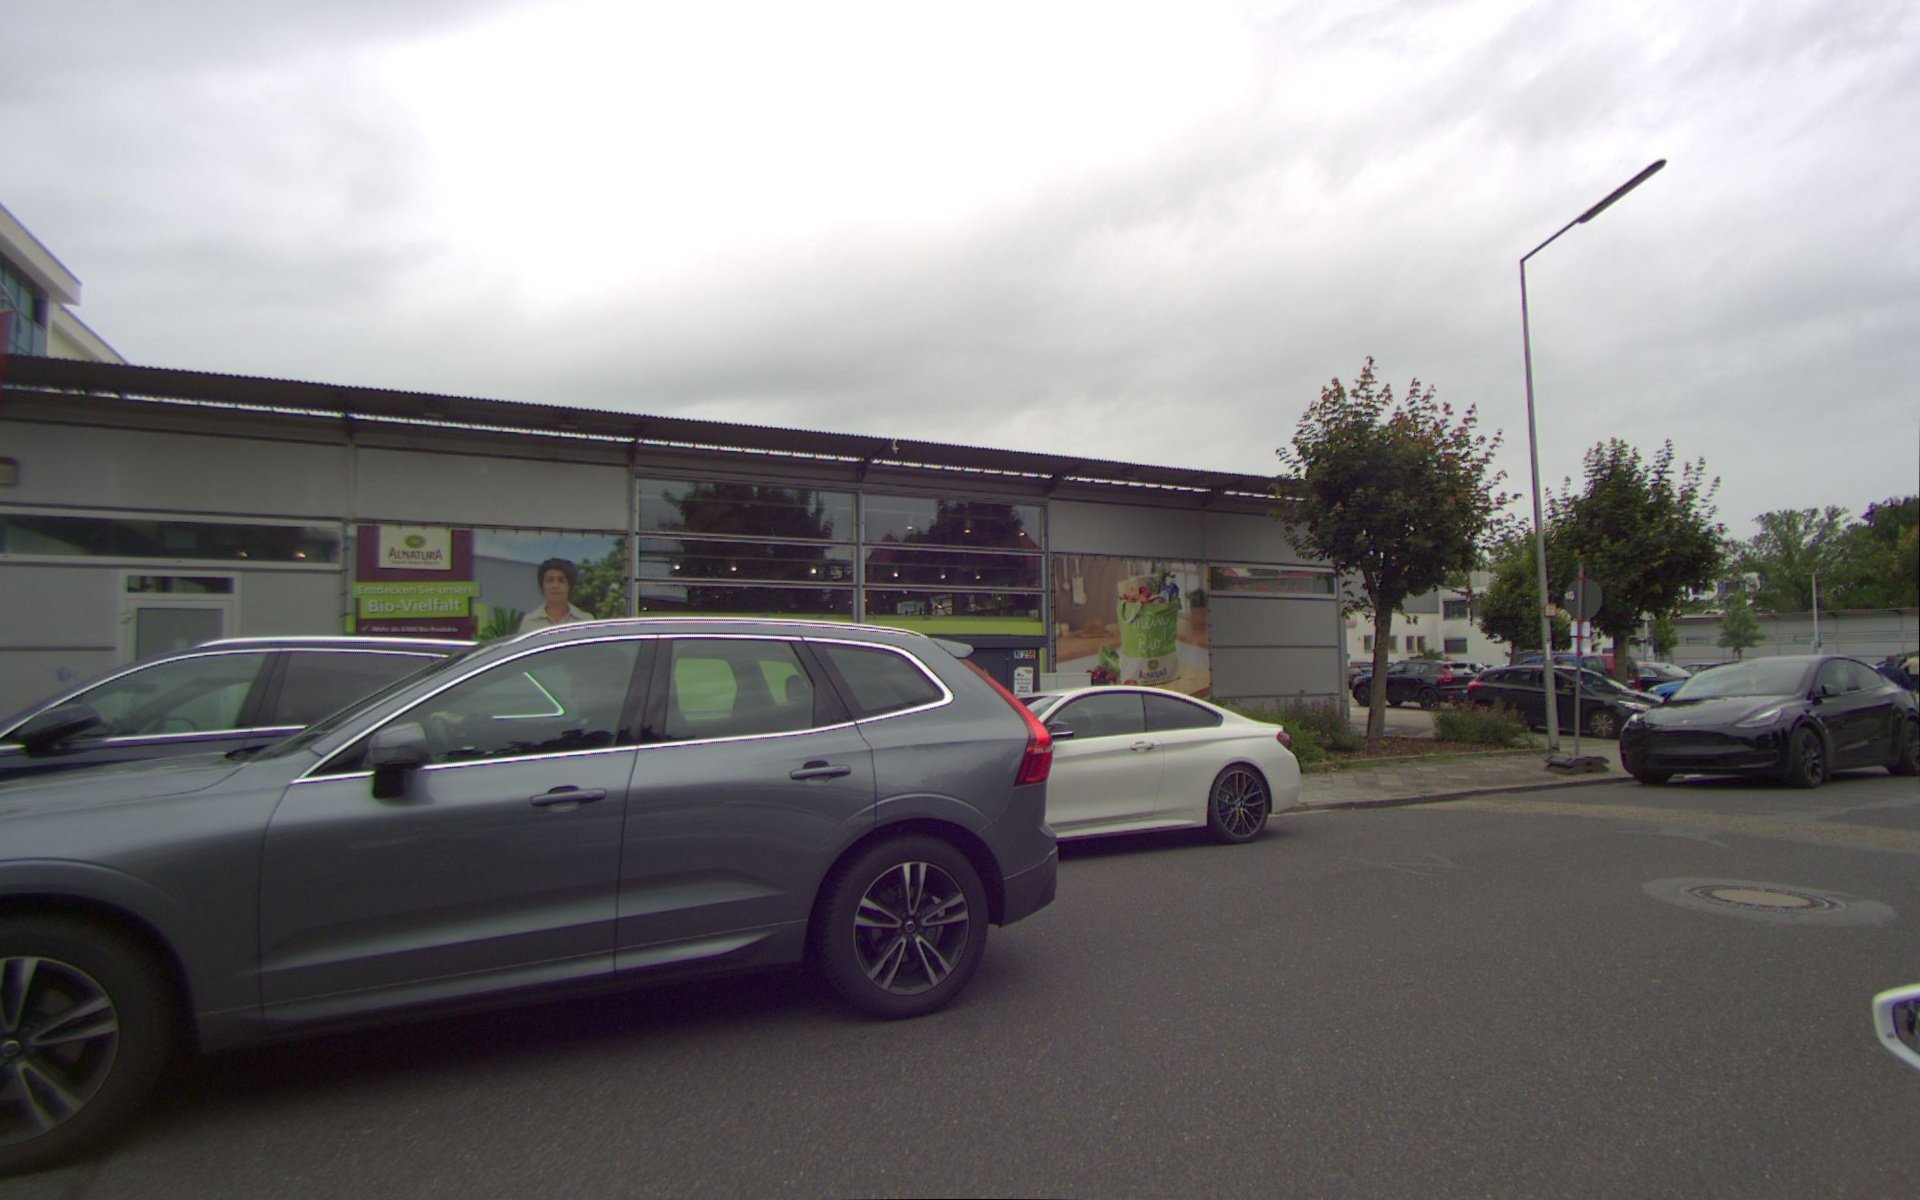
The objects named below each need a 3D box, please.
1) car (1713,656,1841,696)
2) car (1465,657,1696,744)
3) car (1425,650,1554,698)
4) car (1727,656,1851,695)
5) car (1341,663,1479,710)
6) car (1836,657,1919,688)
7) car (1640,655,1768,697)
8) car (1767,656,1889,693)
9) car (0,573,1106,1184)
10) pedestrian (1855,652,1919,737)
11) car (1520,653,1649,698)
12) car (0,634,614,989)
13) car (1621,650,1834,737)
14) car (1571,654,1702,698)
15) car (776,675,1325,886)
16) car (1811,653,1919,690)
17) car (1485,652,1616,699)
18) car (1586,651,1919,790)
[{"bbox_3d":[36.320,3.356,44.758,1.851,1.690,3.976,1,-4,-25],"label":"car"},{"bbox_3d":[13.315,2.079,21.808,1.902,1.641,3.863,1,-3,-25],"label":"car"},{"bbox_3d":[19.903,2.788,37.910,1.851,1.690,3.976,1,-4,-25],"label":"car"},{"bbox_3d":[38.055,3.462,46.210,1.851,1.690,3.976,1,-4,-25],"label":"car"},{"bbox_3d":[15.333,2.917,34.299,3.941,1.504,1.868,-4,-5,40],"label":"car"},{"bbox_3d":[47.321,3.652,50.931,1.761,1.511,3.977,1,-4,-25],"label":"car"},{"bbox_3d":[31.682,3.216,42.889,1.851,1.690,3.976,1,-4,-25],"label":"car"},{"bbox_3d":[41.473,3.573,48.094,1.851,1.690,3.976,1,-4,-25],"label":"car"},{"bbox_3d":[-1.777,0.888,4.354,4.434,1.705,1.928,1,-5,-25],"label":"car"},{"bbox_3d":[19.512,1.974,21.157,0.689,1.737,0.772,2,-3,-30],"label":"pedestrian"},{"bbox_3d":[24.740,2.980,39.947,1.851,1.690,3.976,1,-4,-25],"label":"car"},{"bbox_3d":[-4.596,1.145,5.955,4.665,1.712,1.862,1,-7,-25],"label":"car"},{"bbox_3d":[19.481,2.341,25.656,1.742,2.039,3.909,2,-5,-32],"label":"car"},{"bbox_3d":[27.140,3.039,40.447,1.851,1.690,3.976,1,-4,-25],"label":"car"},{"bbox_3d":[0.826,1.430,8.656,4.459,1.384,1.695,2,-9,-27],"label":"car"},{"bbox_3d":[43.939,3.460,48.460,1.851,1.690,3.976,1,-4,-25],"label":"car"},{"bbox_3d":[22.679,2.887,38.736,1.851,1.690,3.976,1,-4,-25],"label":"car"},{"bbox_3d":[10.496,1.528,13.091,4.347,1.545,1.941,2,-8,-28],"label":"car"}]
